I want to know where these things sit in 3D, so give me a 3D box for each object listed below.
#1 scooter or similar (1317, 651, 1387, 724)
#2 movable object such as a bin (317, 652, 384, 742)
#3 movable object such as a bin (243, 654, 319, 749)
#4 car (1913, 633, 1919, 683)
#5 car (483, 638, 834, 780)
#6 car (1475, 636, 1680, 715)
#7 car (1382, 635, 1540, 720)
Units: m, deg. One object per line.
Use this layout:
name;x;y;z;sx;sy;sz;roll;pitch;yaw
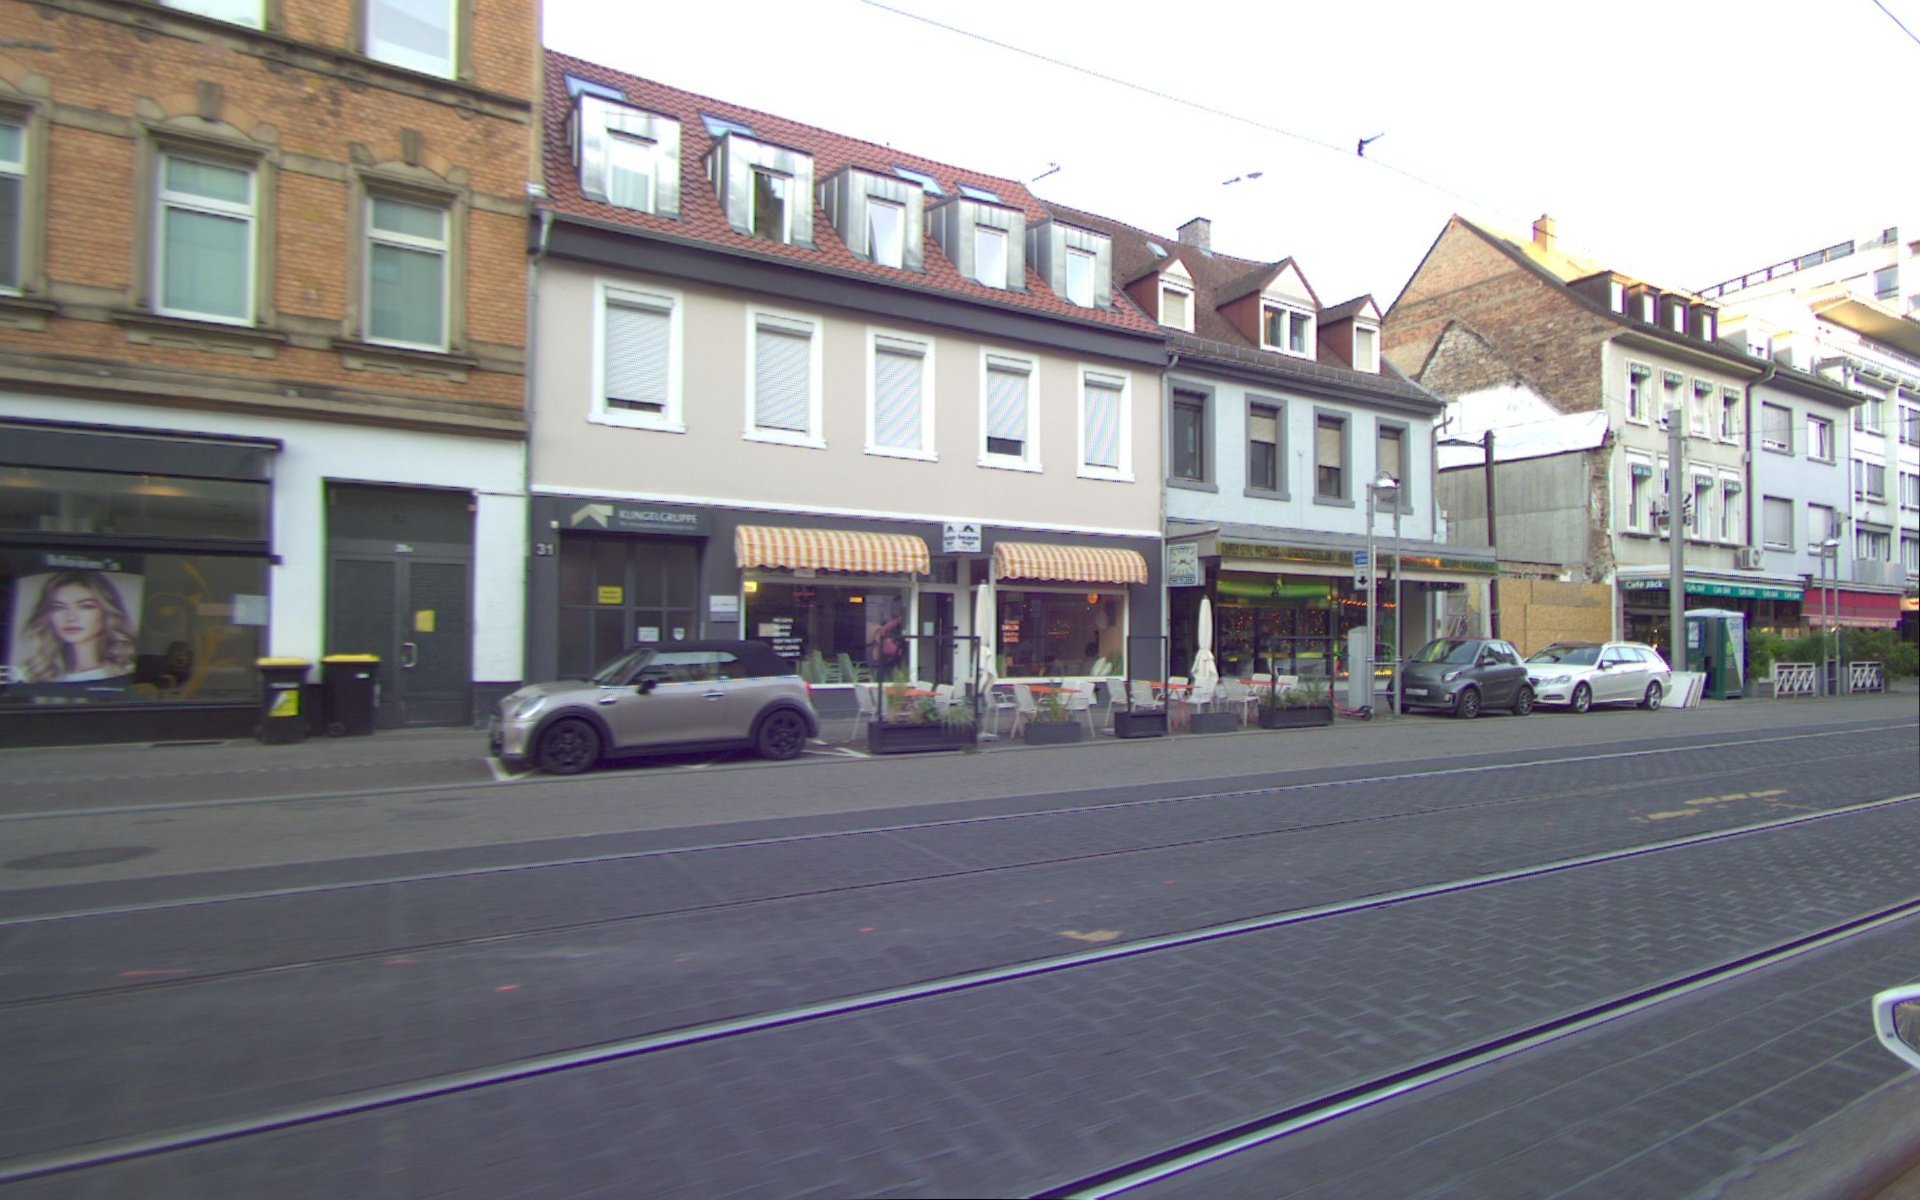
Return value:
scooter or similar;7.199;1.585;18.502;0.290;1.221;1.308;1;0;-28
movable object such as a bin;-8.131;1.274;13.419;0.720;1.146;0.587;1;-2;-30
movable object such as a bin;-8.554;1.259;12.678;0.720;1.146;0.587;1;-2;-30
car;36.386;2.139;36.116;4.377;1.786;1.908;2;0;-30
car;-3.650;1.224;12.266;3.818;1.408;1.726;2;0;-30
car;13.852;1.630;22.463;4.784;1.524;1.840;2;0;-30
car;10.043;1.501;20.126;2.780;1.524;1.583;2;0;-31
